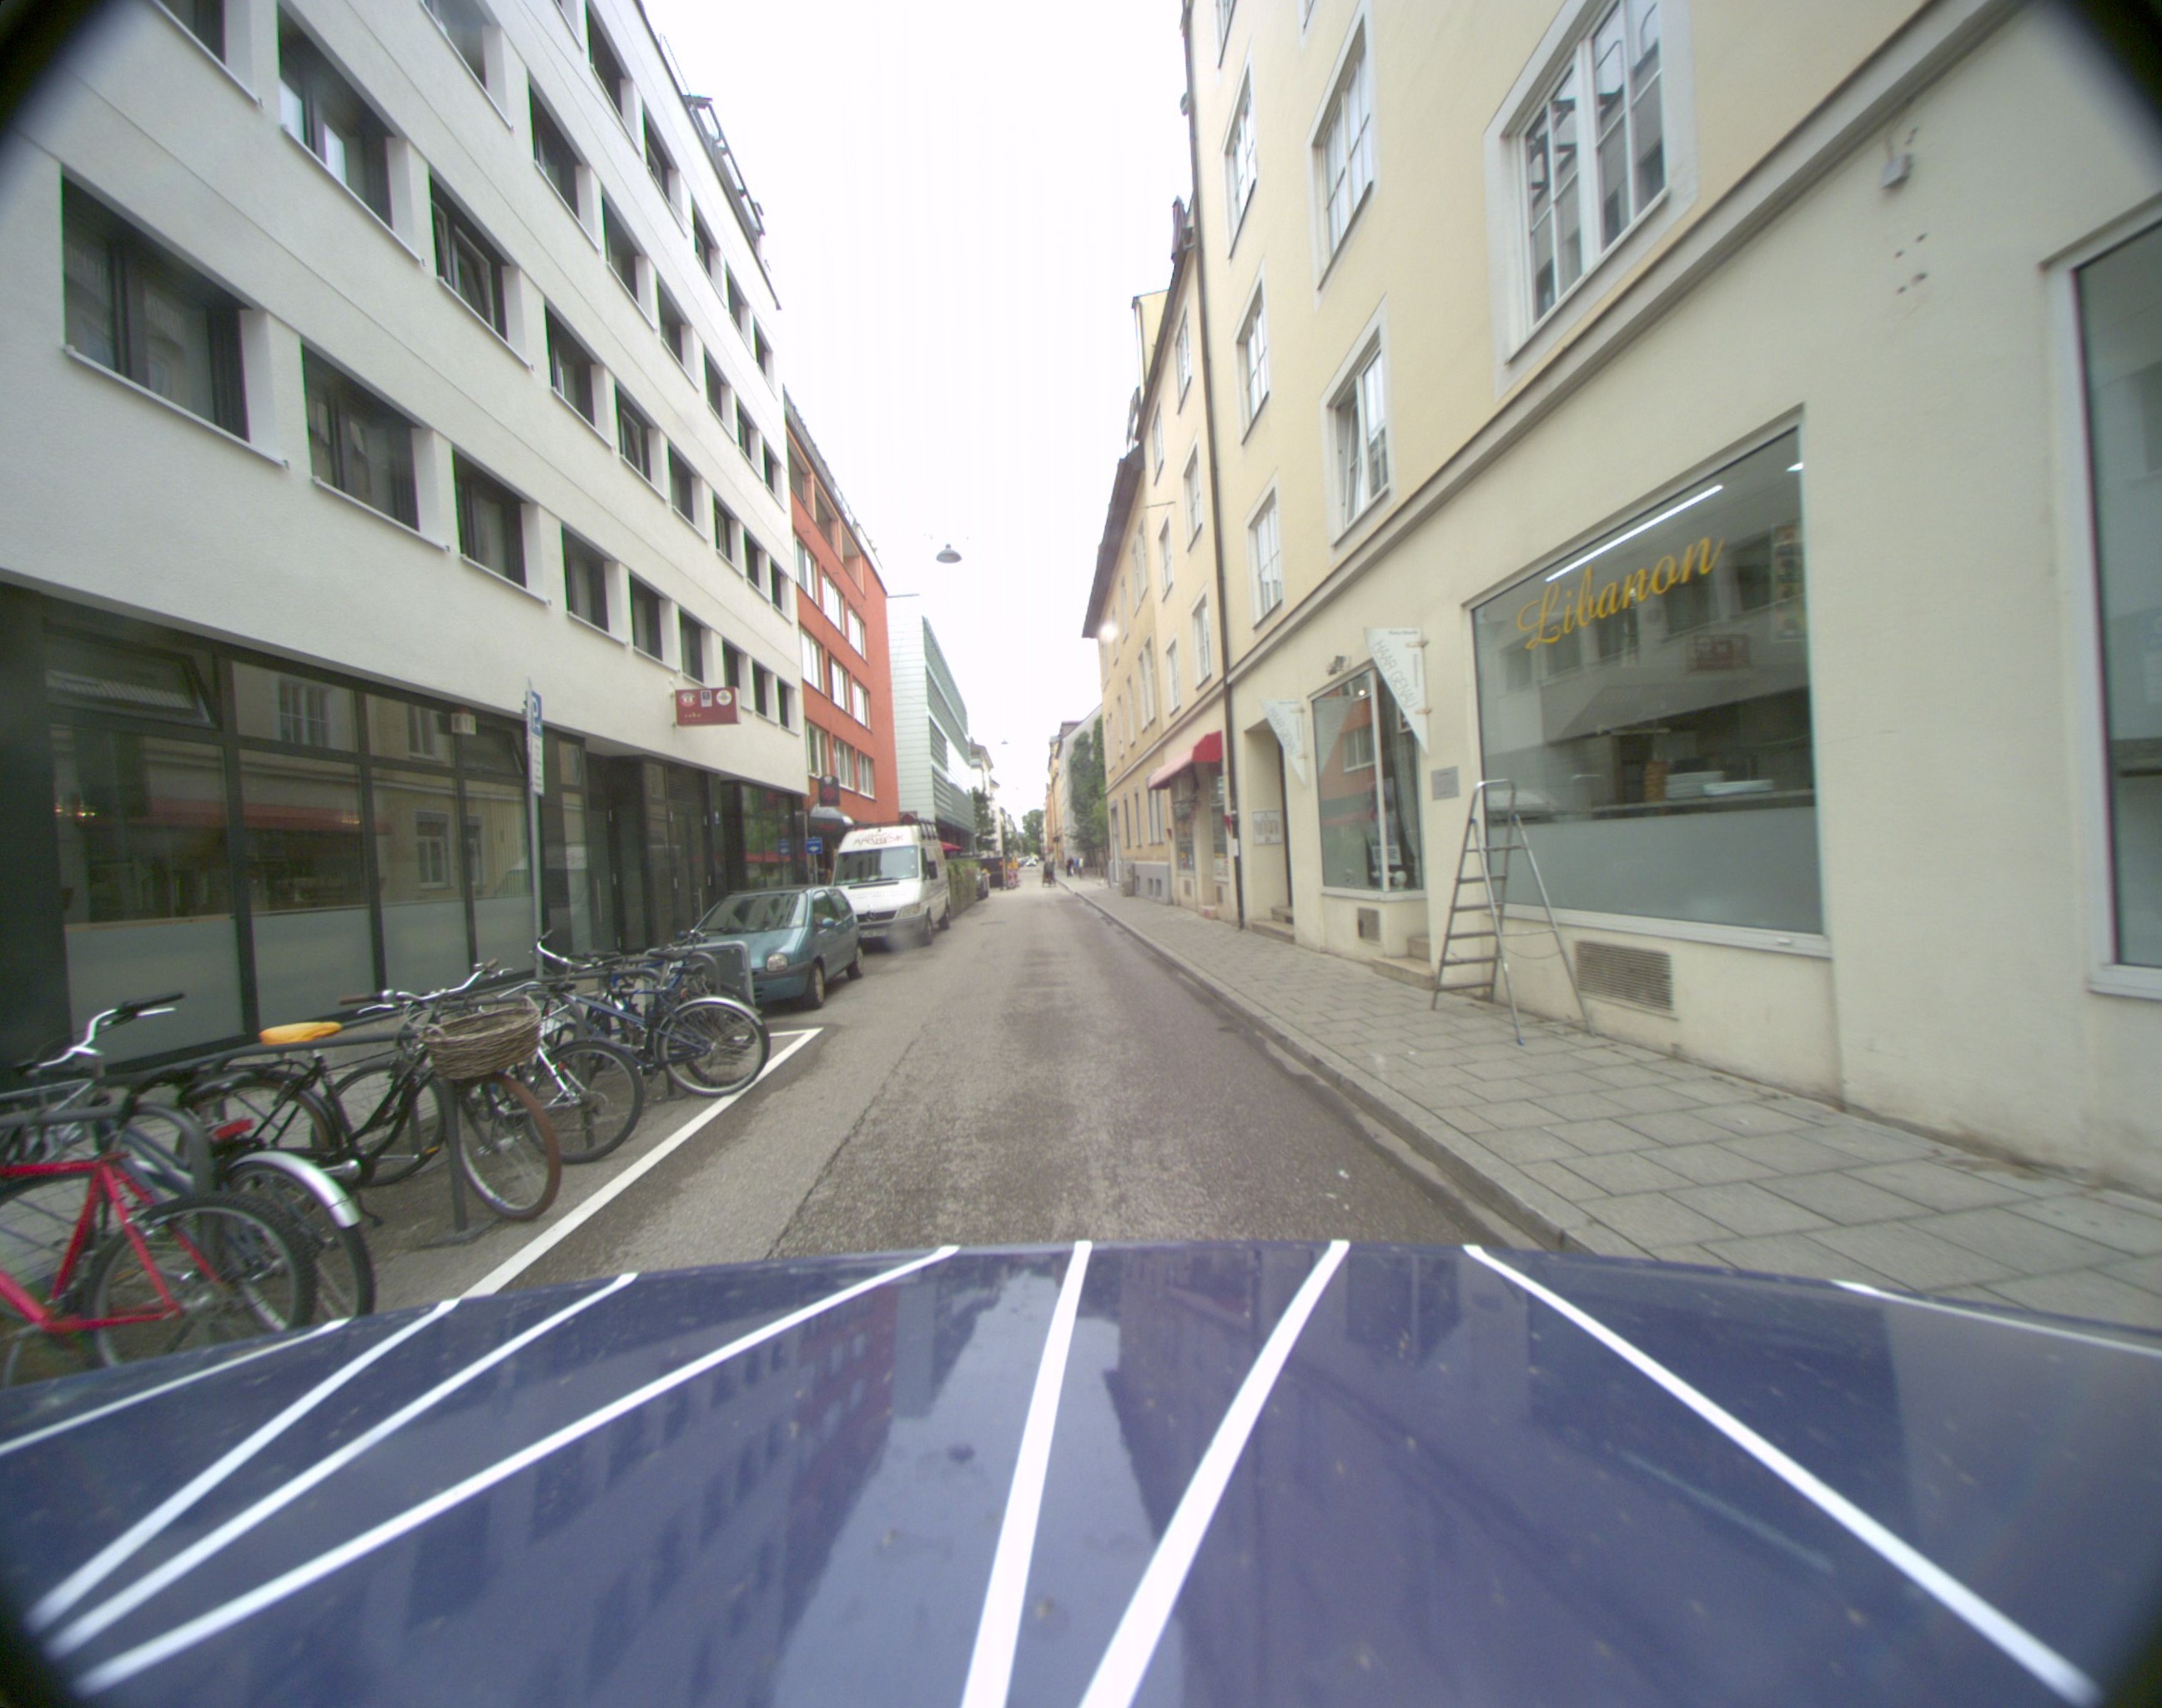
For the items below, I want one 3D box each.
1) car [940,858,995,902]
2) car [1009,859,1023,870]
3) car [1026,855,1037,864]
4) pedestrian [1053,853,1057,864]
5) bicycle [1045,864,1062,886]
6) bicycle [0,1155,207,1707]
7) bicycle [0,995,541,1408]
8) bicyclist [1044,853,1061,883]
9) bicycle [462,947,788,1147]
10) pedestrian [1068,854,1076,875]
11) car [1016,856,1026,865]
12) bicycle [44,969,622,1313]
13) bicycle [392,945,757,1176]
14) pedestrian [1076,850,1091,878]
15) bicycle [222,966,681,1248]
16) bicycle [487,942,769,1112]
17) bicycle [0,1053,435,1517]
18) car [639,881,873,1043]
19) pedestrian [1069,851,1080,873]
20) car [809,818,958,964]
[{"bbox_3d":[-5.039,1.094,34.291,1.829,1.700,4.388,-5,0,-2],"label":"car"},{"bbox_3d":[-8.992,1.391,105.160,1.810,1.390,3.998,-4,0,-4],"label":"car"},{"bbox_3d":[-9.531,1.035,147.813,1.999,1.583,4.373,-4,0,-4],"label":"car"},{"bbox_3d":[-4.403,0.721,128.273,0.493,1.814,0.552,-3,0,-4],"label":"pedestrian"},{"bbox_3d":[-1.715,1.256,46.257,0.934,1.250,2.413,-3,1,-3],"label":"bicycle"},{"bbox_3d":[-3.205,1.354,1.571,1.879,1.046,0.564,-4,2,-6],"label":"bicycle"},{"bbox_3d":[-3.221,1.222,2.817,1.899,1.163,0.565,-3,0,-6],"label":"bicycle"},{"bbox_3d":[-1.723,0.838,45.784,0.929,1.711,1.099,-2,0,-3],"label":"bicyclist"},{"bbox_3d":[-3.161,1.325,5.386,1.879,1.101,0.488,-5,0,-5],"label":"bicycle"},{"bbox_3d":[-0.752,0.870,63.364,0.554,1.650,0.997,-4,1,-4],"label":"pedestrian"},{"bbox_3d":[-11.404,1.301,144.615,1.794,1.550,3.998,-4,0,-4],"label":"car"},{"bbox_3d":[-3.246,1.218,3.444,1.879,1.197,0.579,-3,0,-5],"label":"bicycle"},{"bbox_3d":[-3.164,1.272,4.865,1.879,1.197,0.488,-4,-1,-5],"label":"bicycle"},{"bbox_3d":[0.163,0.703,52.609,0.861,1.834,0.974,-5,1,-2],"label":"pedestrian"},{"bbox_3d":[-3.348,1.323,4.172,1.879,1.150,0.565,-5,0,-5],"label":"bicycle"},{"bbox_3d":[-3.662,1.387,6.241,1.879,1.073,0.488,-6,0,-5],"label":"bicycle"},{"bbox_3d":[-3.150,1.279,2.277,1.879,1.088,0.440,-4,-1,-6],"label":"bicycle"},{"bbox_3d":[-3.852,1.181,9.657,1.585,1.455,3.550,-4,0,-4],"label":"car"},{"bbox_3d":[-0.580,0.707,65.628,0.778,1.826,0.991,-4,1,-4],"label":"pedestrian"},{"bbox_3d":[-4.079,0.687,16.836,1.926,2.491,5.995,-5,0,-4],"label":"car"}]
